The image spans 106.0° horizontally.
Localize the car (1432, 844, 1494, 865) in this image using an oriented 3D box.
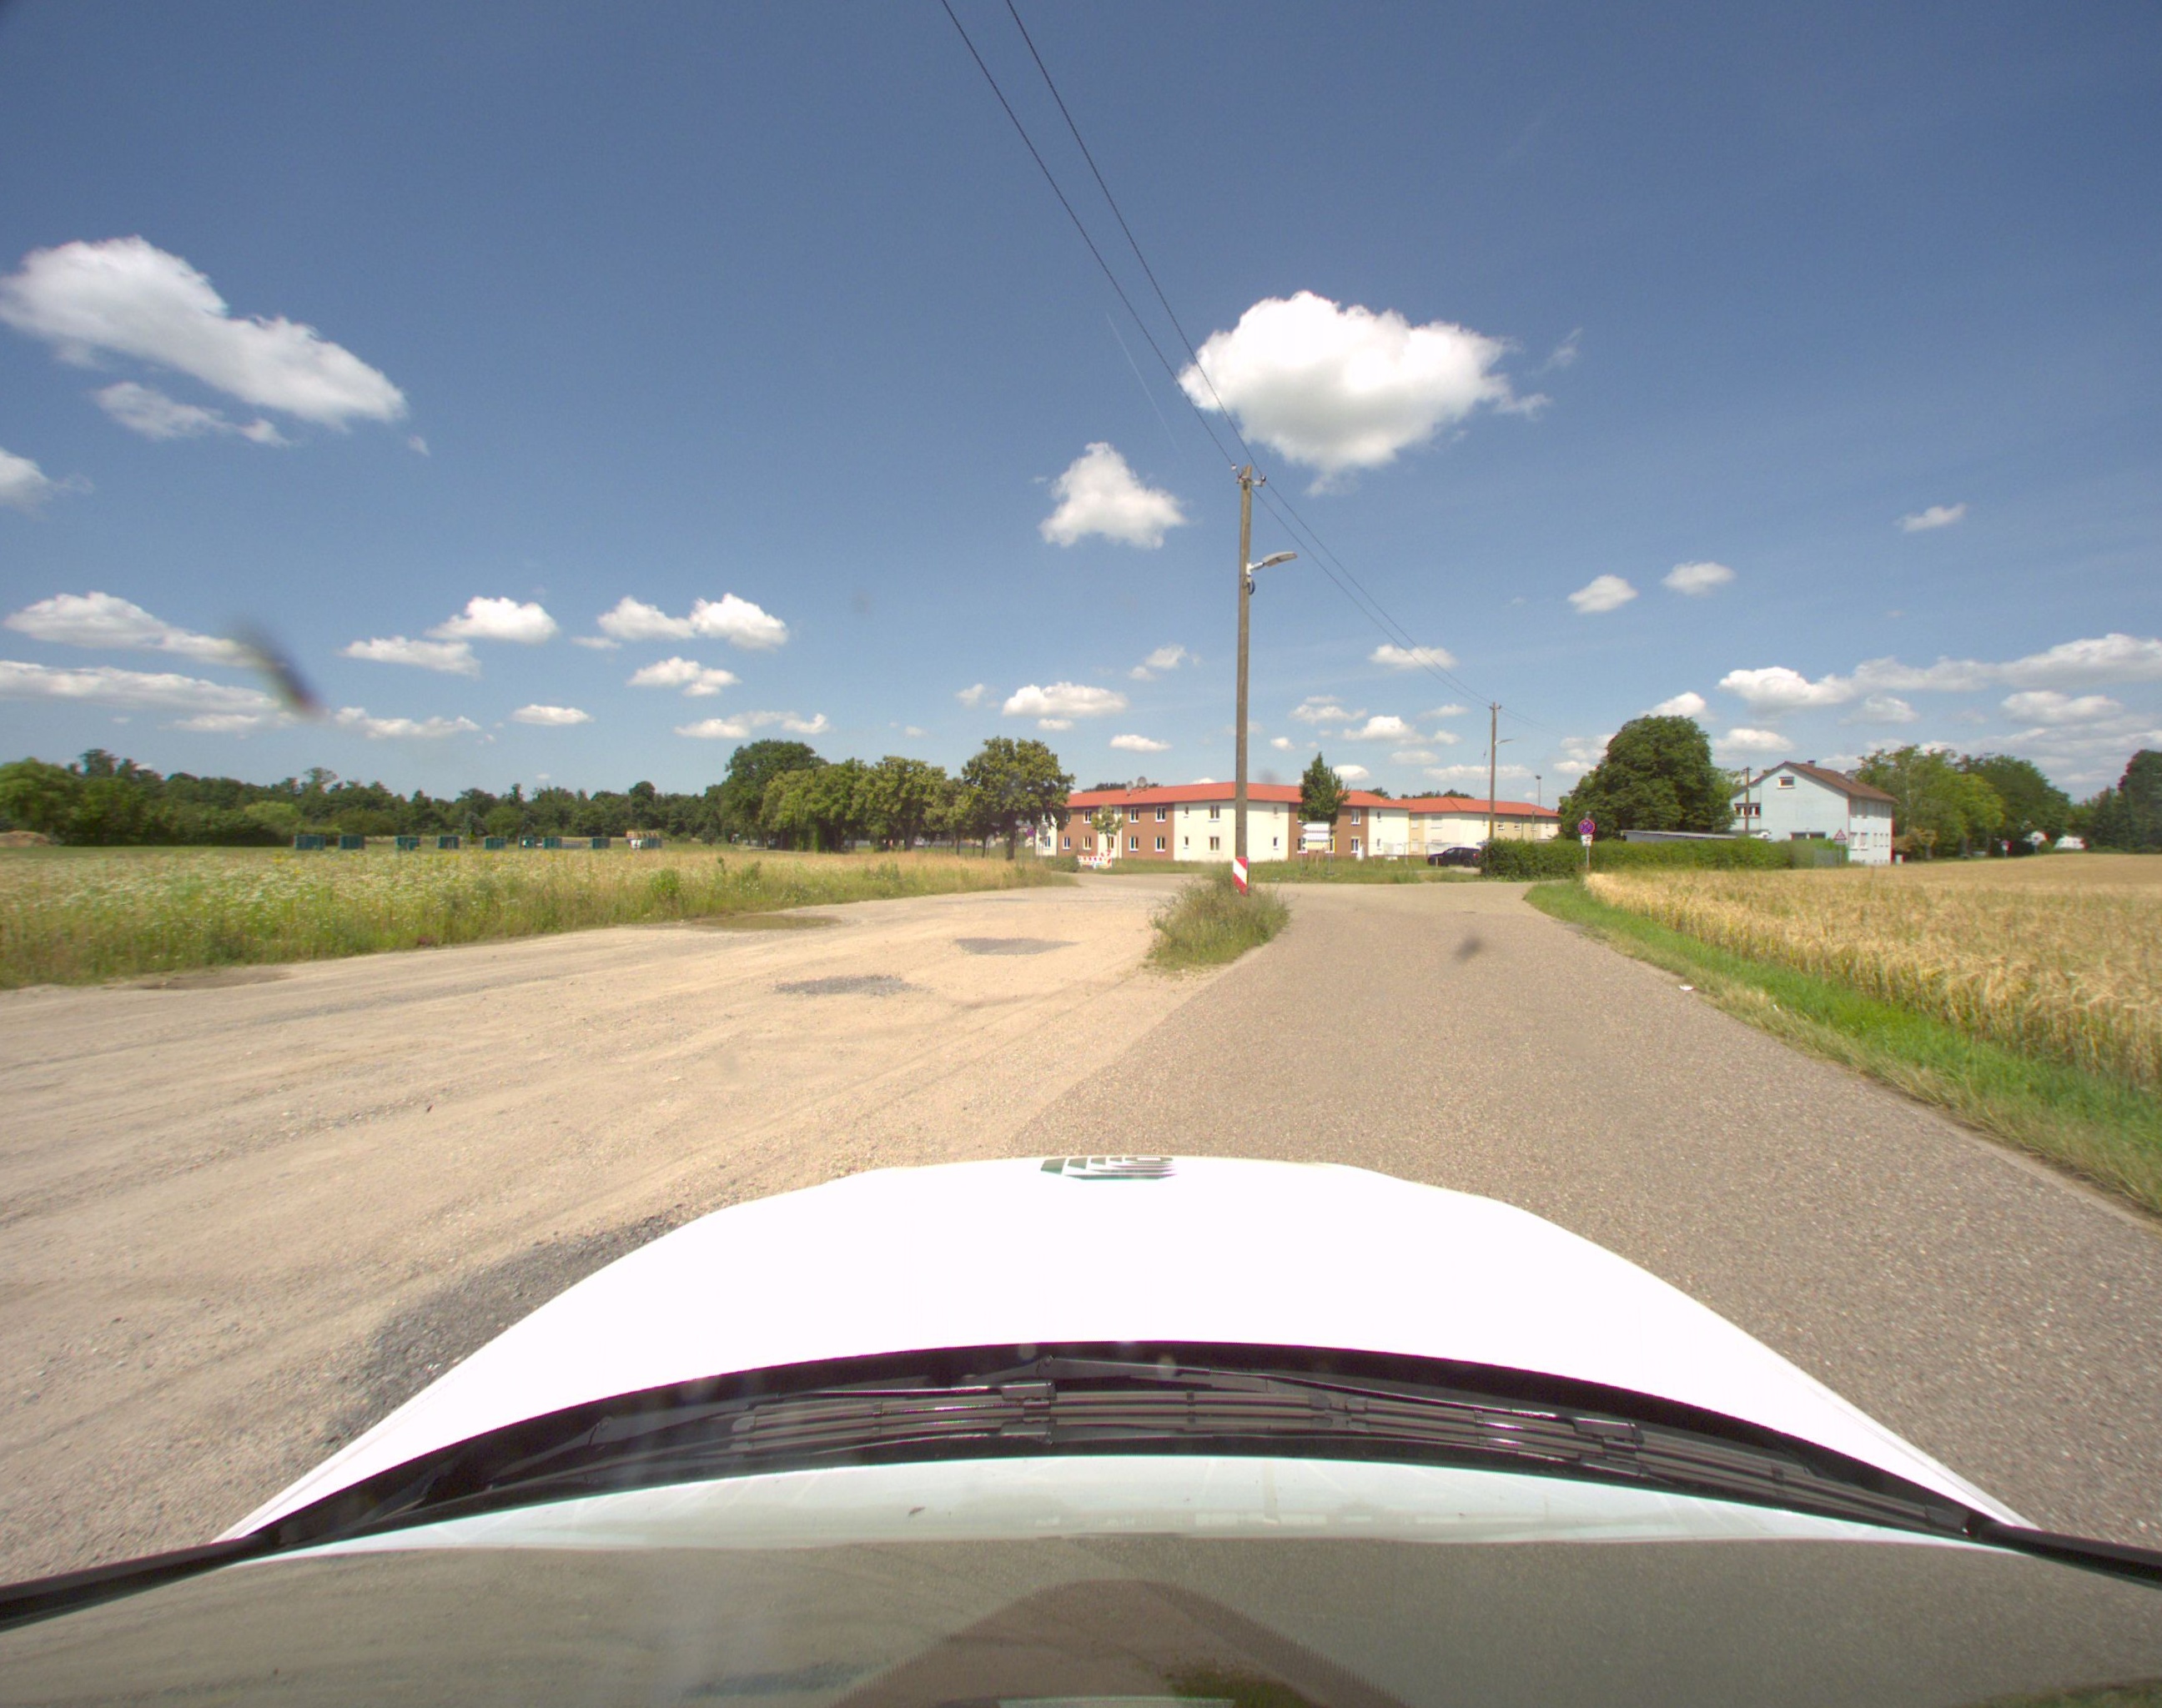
[{"bbox_3d":[31.328,0.015,66.886,2.009,1.614,4.103,0,1,-36],"label":"car"}]
